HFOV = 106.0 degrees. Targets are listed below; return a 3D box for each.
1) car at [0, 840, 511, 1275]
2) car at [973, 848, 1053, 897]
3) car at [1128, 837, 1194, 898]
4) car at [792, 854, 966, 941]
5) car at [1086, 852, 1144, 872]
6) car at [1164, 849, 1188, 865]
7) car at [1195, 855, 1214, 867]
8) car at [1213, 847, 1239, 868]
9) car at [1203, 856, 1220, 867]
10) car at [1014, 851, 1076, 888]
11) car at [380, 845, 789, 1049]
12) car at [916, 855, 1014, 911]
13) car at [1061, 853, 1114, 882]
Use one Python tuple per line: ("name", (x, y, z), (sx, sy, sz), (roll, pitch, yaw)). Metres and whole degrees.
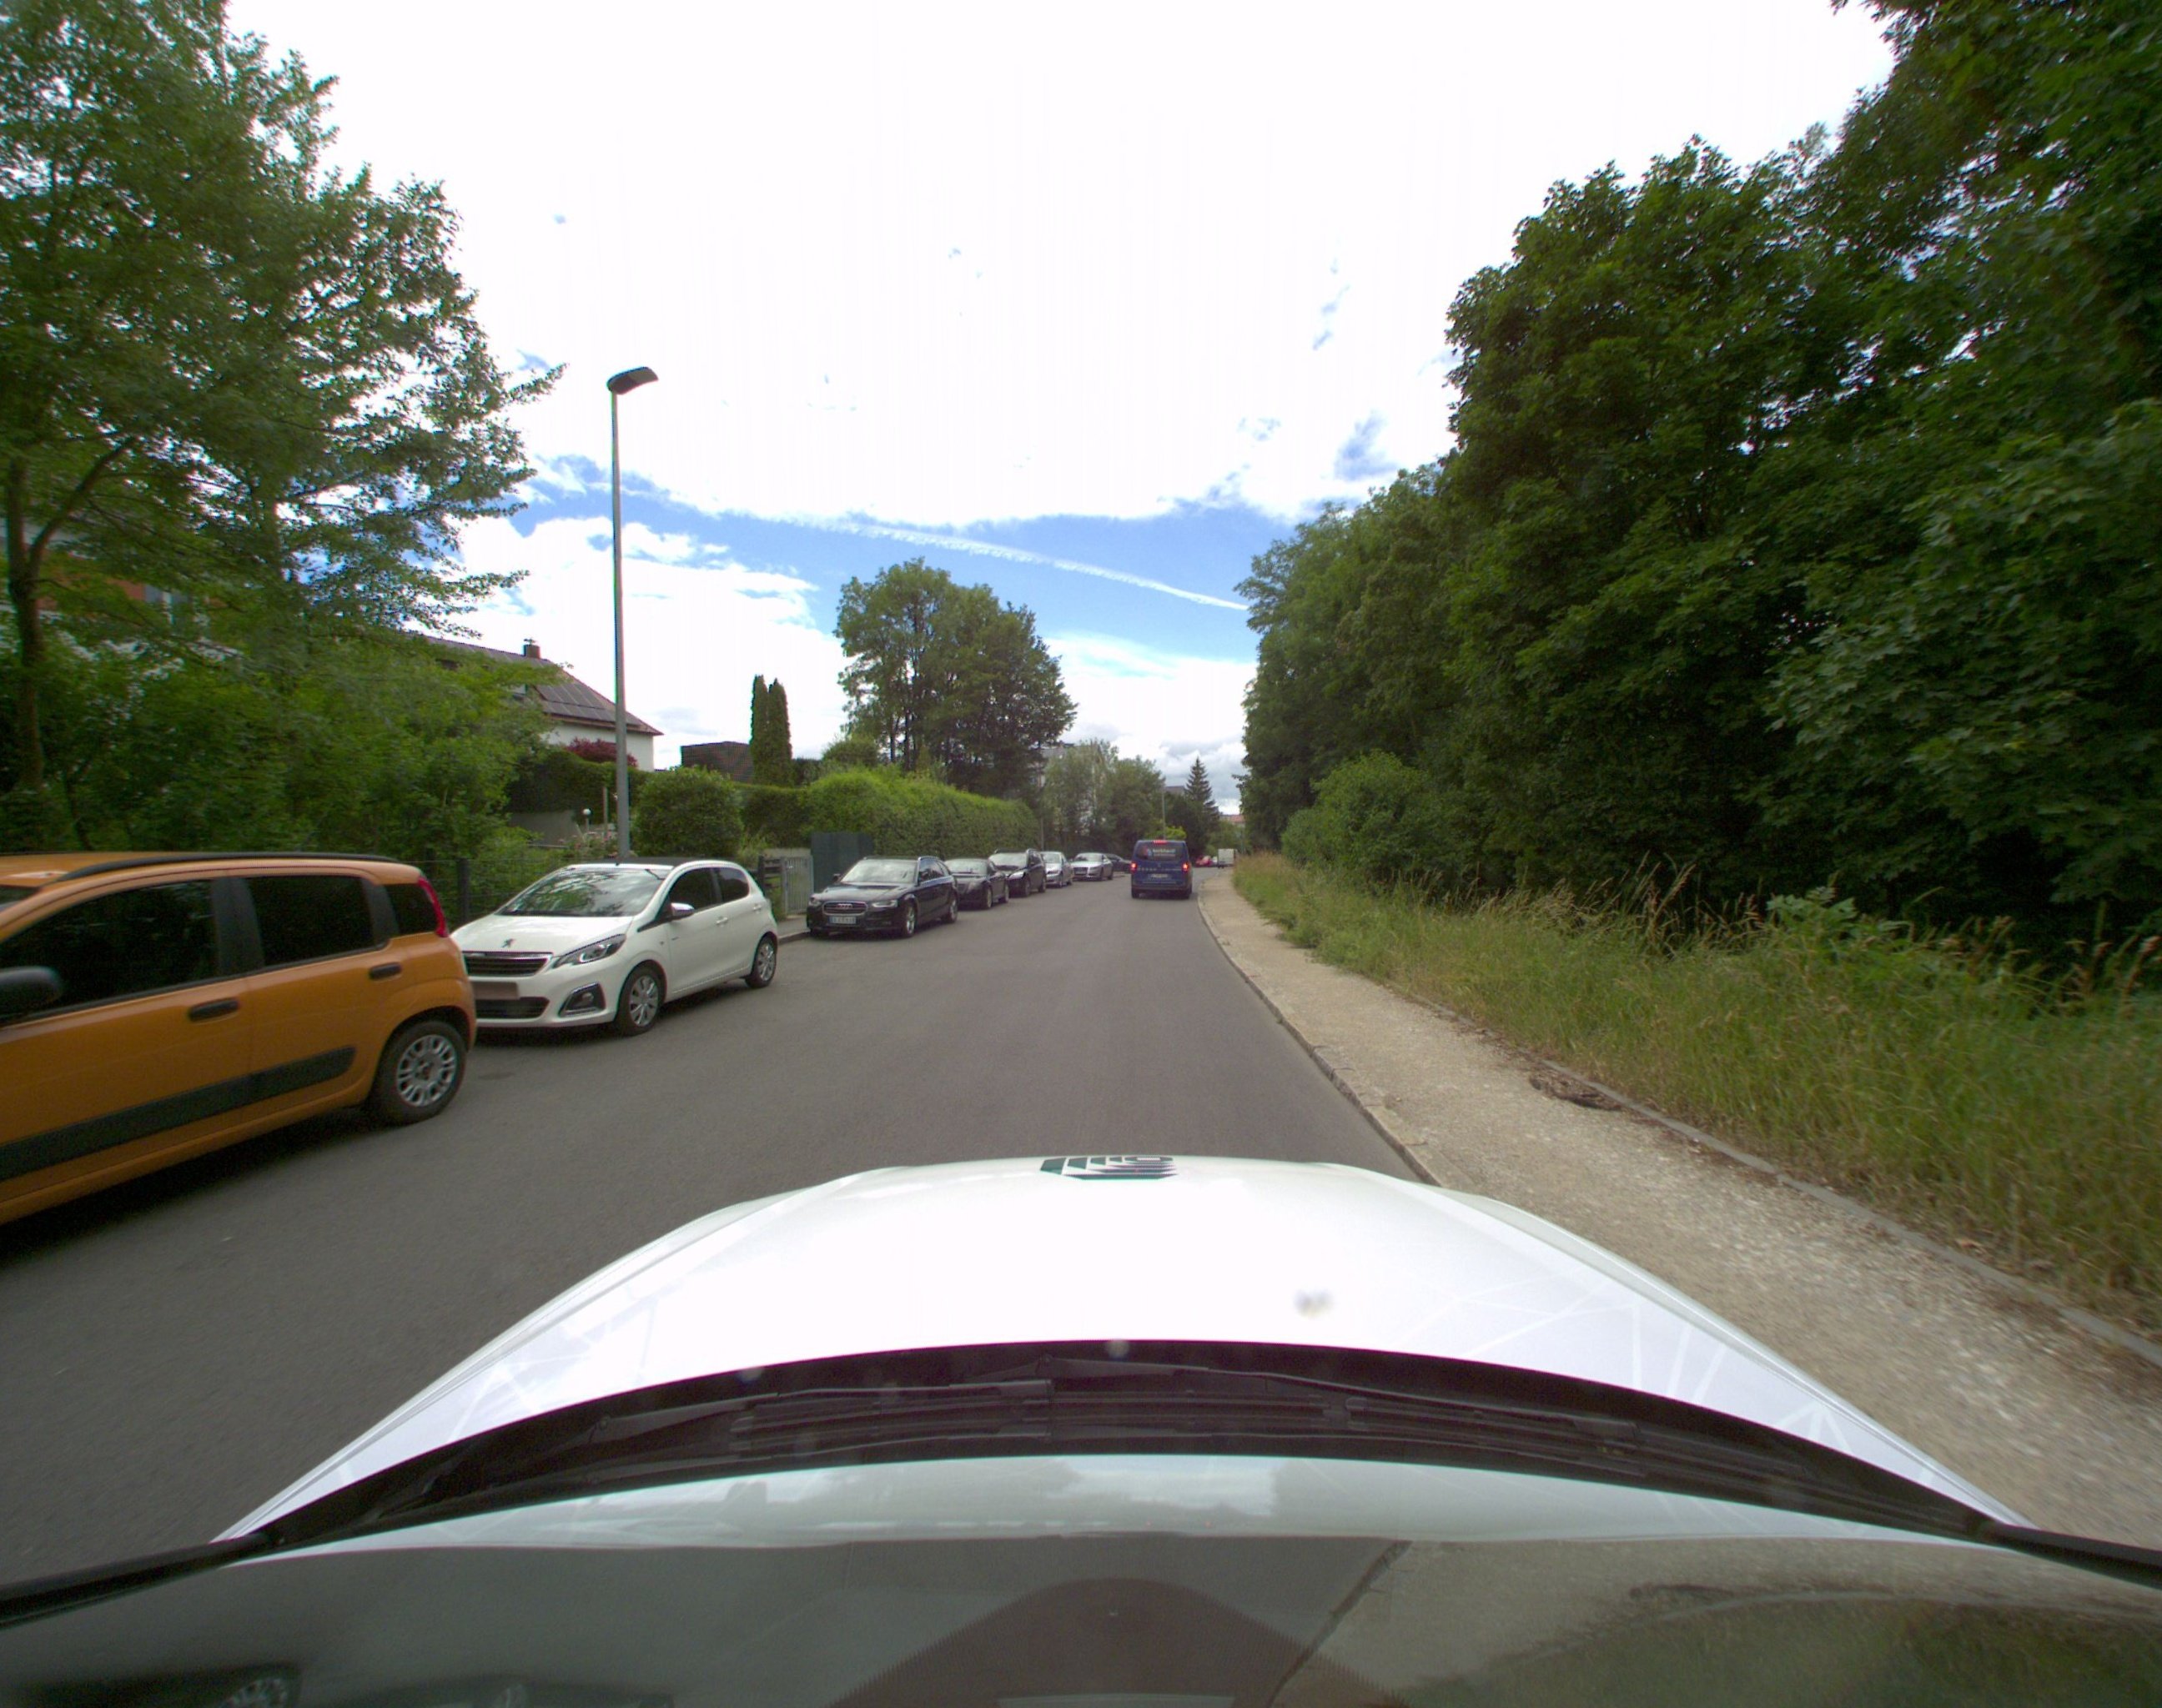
("car", (-4.514, 0.711, 3.461), (1.538, 1.514, 3.645), (0, 0, 1))
("car", (-2.211, 0.572, 27.702), (1.646, 1.533, 4.486), (0, 0, 9))
("car", (2.764, 0.408, 27.398), (1.925, 1.880, 4.542), (0, 0, 9))
("car", (-3.638, 0.714, 15.640), (1.709, 1.385, 4.672), (0, 0, 6))
("car", (2.471, 0.598, 59.153), (4.150, 1.447, 1.741), (0, -1, 2))
("car", (9.163, 0.285, 78.036), (1.693, 1.468, 4.092), (0, -1, 15))
("car", (14.853, 0.896, 97.888), (1.622, 1.405, 4.019), (0, -1, 19))
("car", (14.988, 0.392, 83.794), (2.190, 2.063, 6.158), (-1, 0, 14))
("car", (17.229, 1.015, 107.231), (1.736, 1.405, 4.017), (0, -1, 16))
("car", (-1.387, 0.588, 32.979), (1.765, 1.374, 4.350), (0, 0, 7))
("car", (-4.348, 0.687, 7.856), (1.581, 1.514, 3.594), (0, 0, 3))
("car", (-3.009, 0.710, 21.980), (1.703, 1.341, 4.114), (0, 0, 5))
("car", (0.403, 0.635, 40.983), (1.819, 1.374, 4.460), (0, 0, 12))
